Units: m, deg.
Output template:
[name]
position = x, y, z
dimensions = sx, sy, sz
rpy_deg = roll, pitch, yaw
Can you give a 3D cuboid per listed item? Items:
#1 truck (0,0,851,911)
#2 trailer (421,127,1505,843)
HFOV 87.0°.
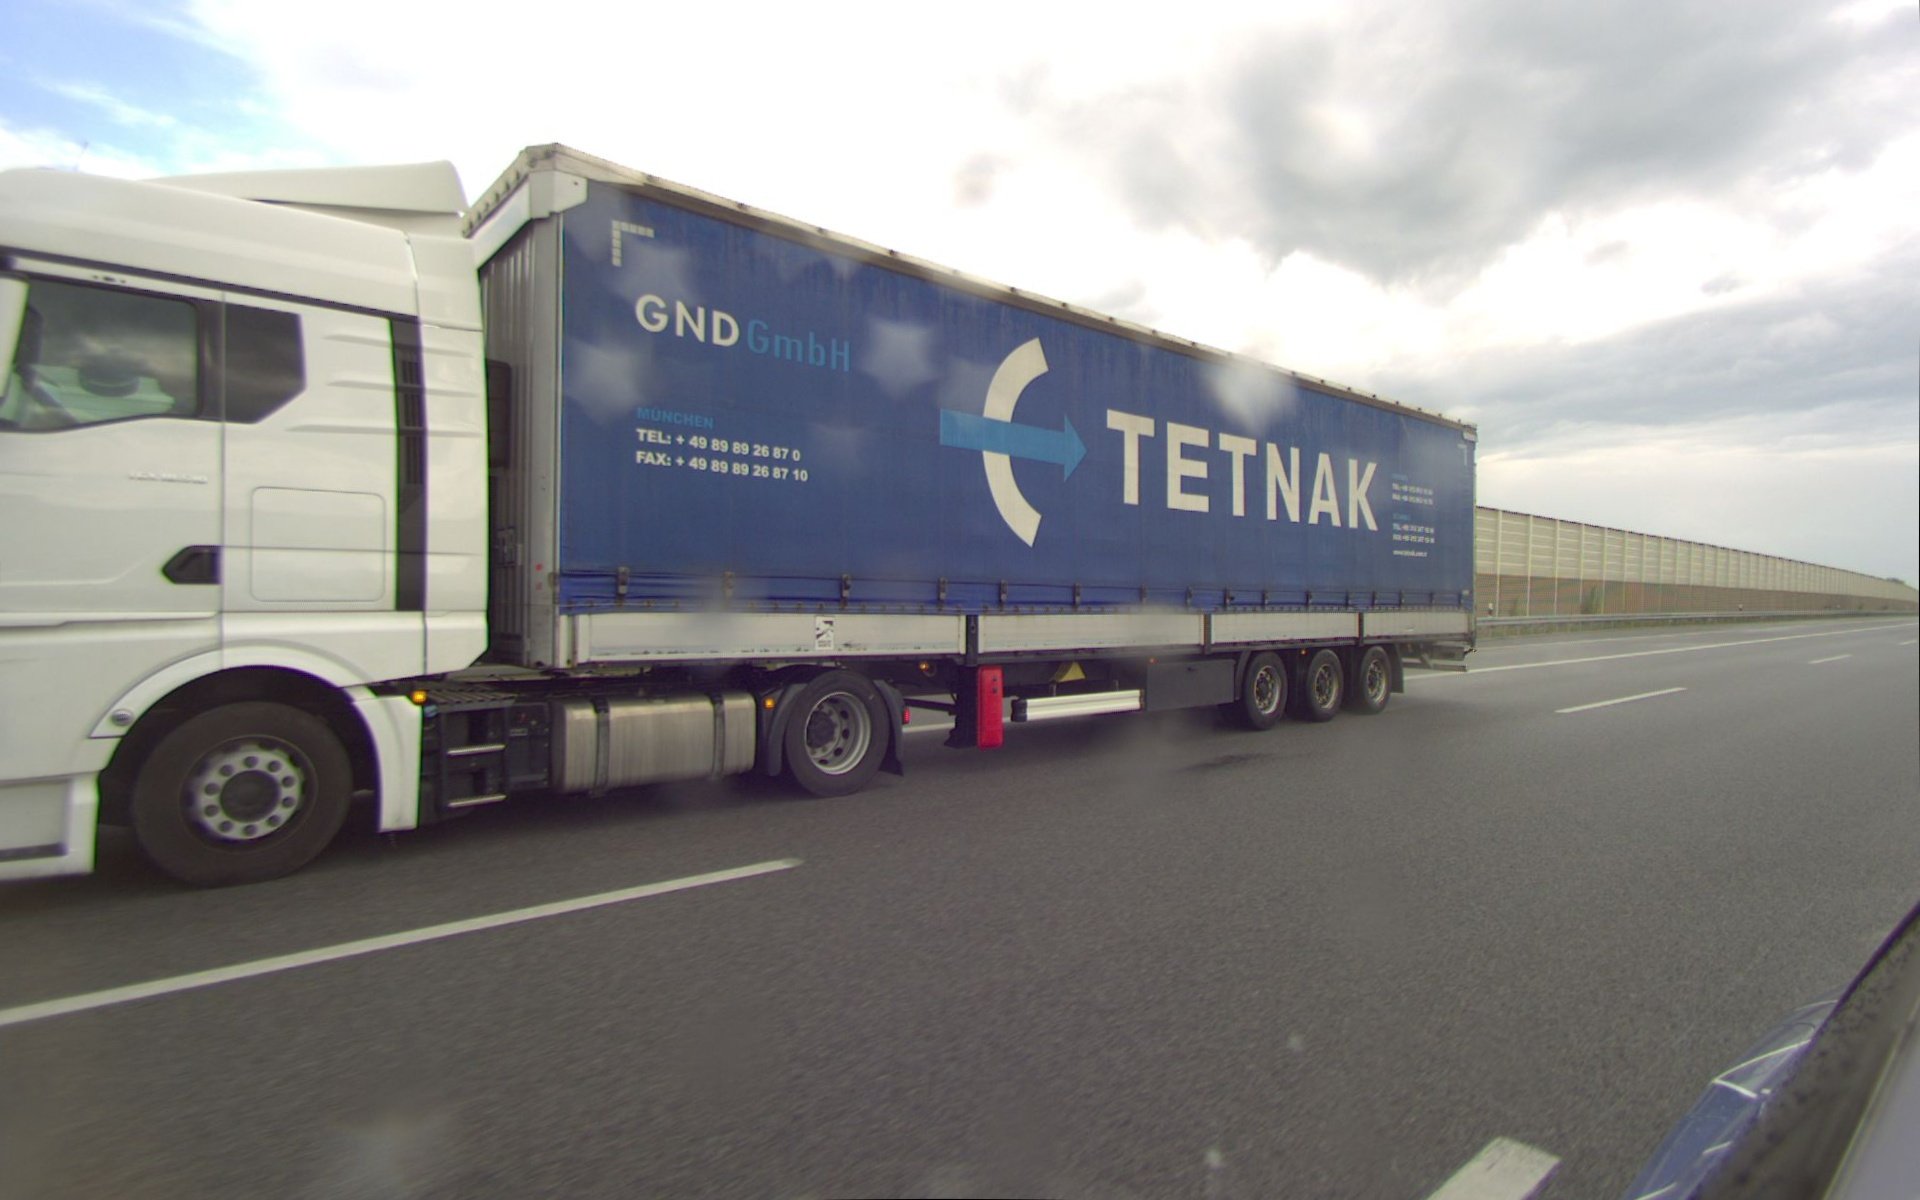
[truck]
position = -3.785, -0.751, 6.335
dimensions = 5.627, 4.086, 2.749
rpy_deg = 0, 0, -42
[trailer]
position = 2.028, -0.668, 11.560
dimensions = 14.203, 4.082, 2.765
rpy_deg = 0, 0, -42
